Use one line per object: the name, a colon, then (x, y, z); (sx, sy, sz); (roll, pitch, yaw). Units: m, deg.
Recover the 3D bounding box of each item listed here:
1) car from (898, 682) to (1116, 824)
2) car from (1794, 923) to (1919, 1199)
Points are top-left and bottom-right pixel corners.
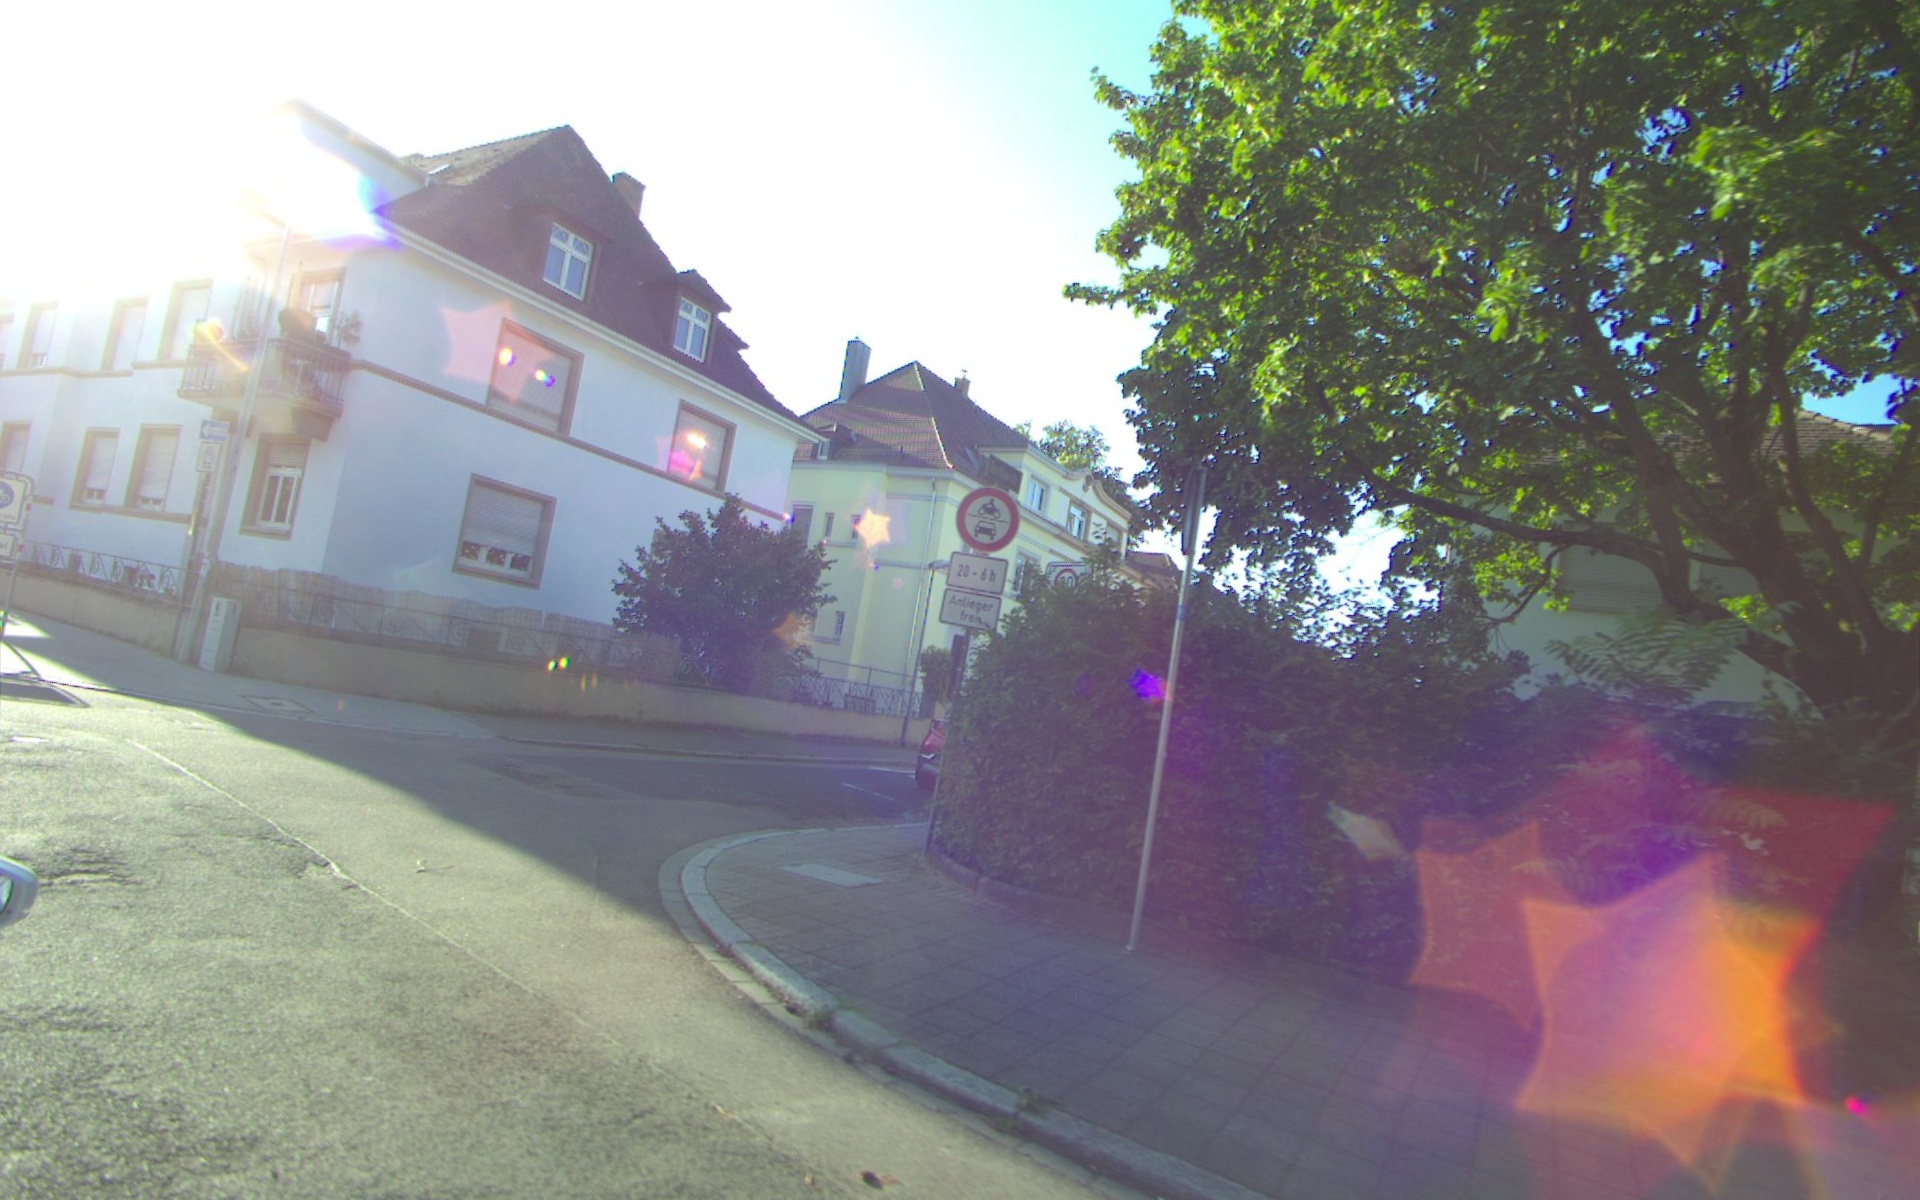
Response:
car: (0.897, 2.516, 16.372); (1.815, 1.624, 3.861); (13, -3, 29)
car: (3.515, 1.547, 0.913); (4.005, 1.429, 1.769); (6, -12, 32)
